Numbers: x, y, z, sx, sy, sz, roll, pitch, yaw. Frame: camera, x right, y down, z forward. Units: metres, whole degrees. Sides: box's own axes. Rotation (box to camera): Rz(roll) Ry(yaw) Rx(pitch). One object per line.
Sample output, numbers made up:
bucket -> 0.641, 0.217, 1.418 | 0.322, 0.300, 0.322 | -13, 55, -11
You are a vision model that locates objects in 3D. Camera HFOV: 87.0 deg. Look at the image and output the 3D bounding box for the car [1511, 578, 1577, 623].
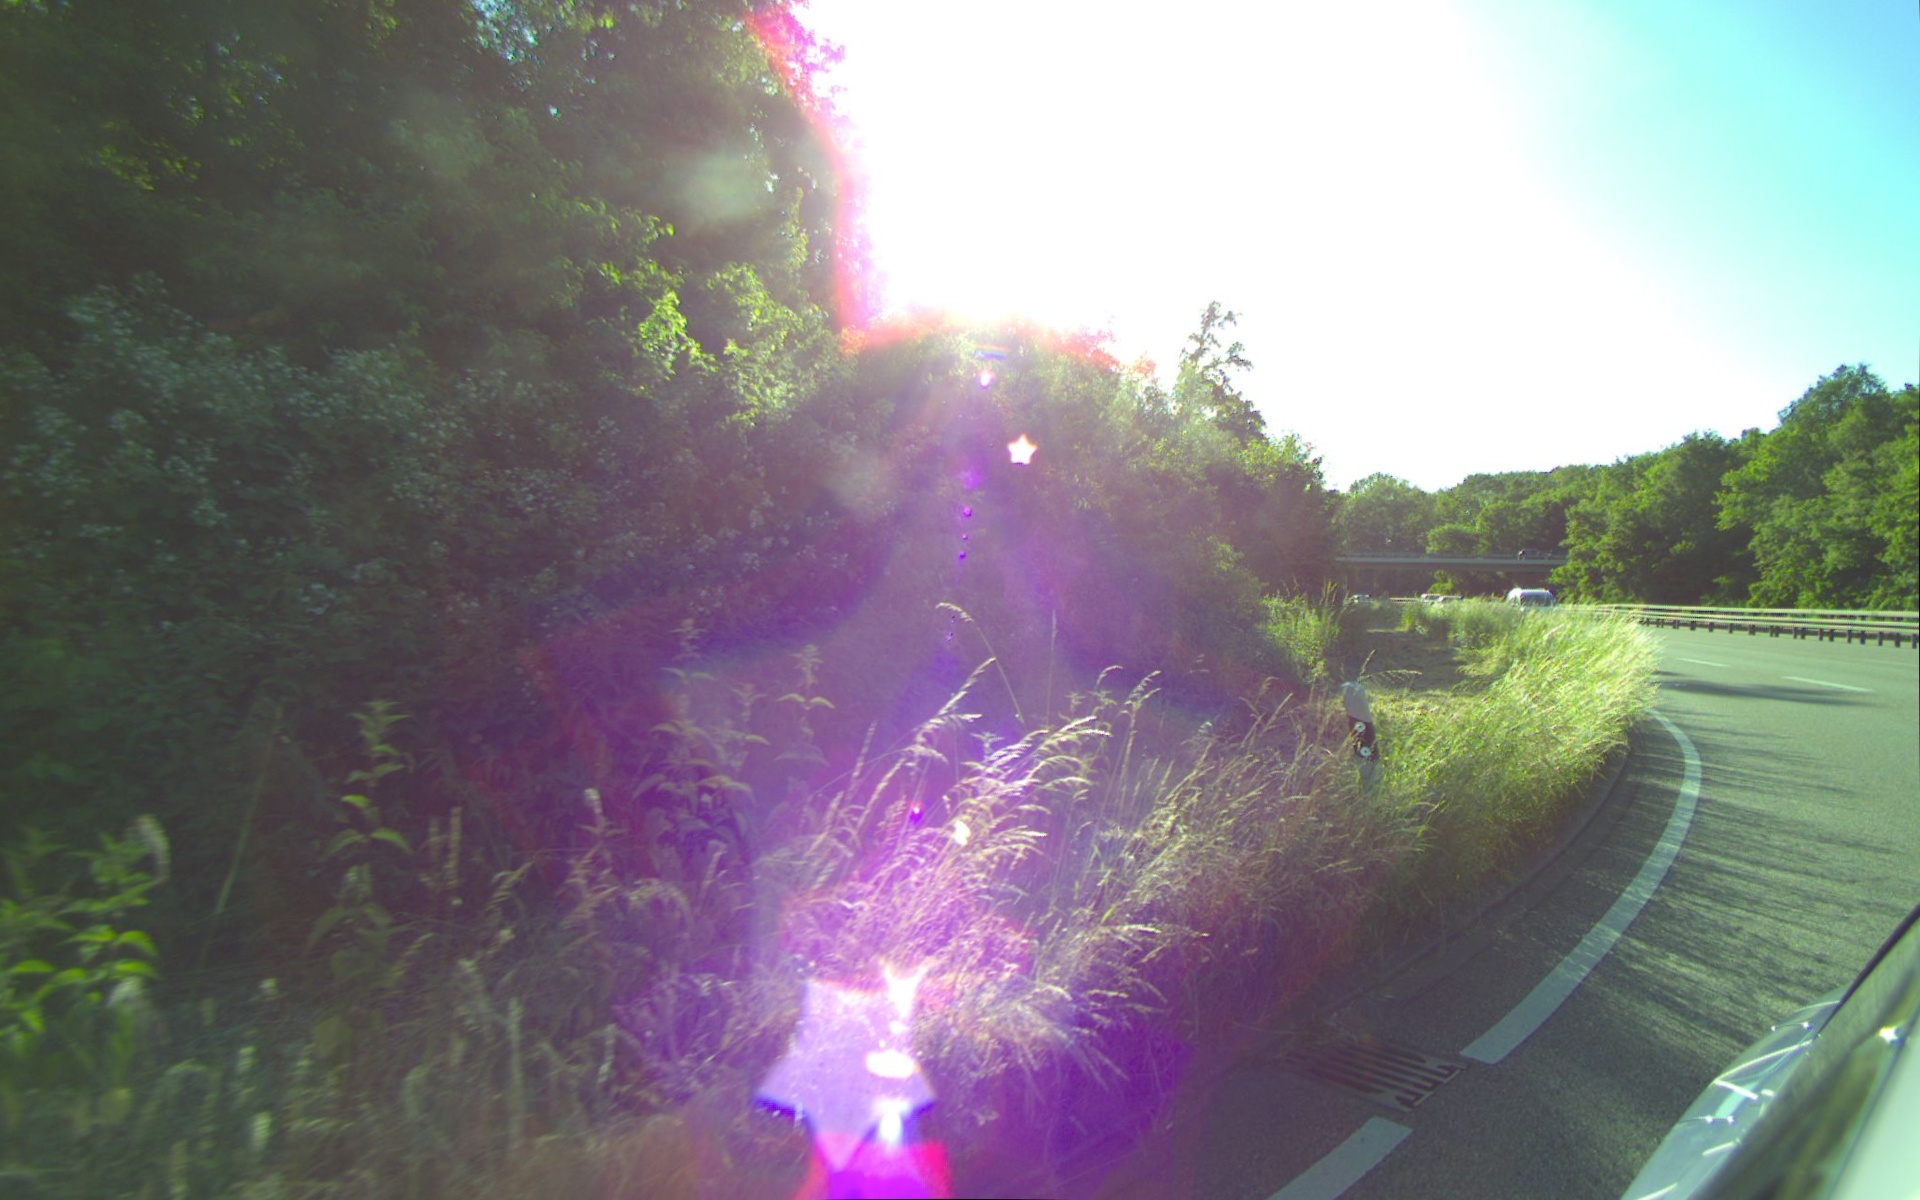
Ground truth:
car -> 25.823, -0.030, 44.916 | 1.779, 1.829, 4.801 | 0, 2, 21
